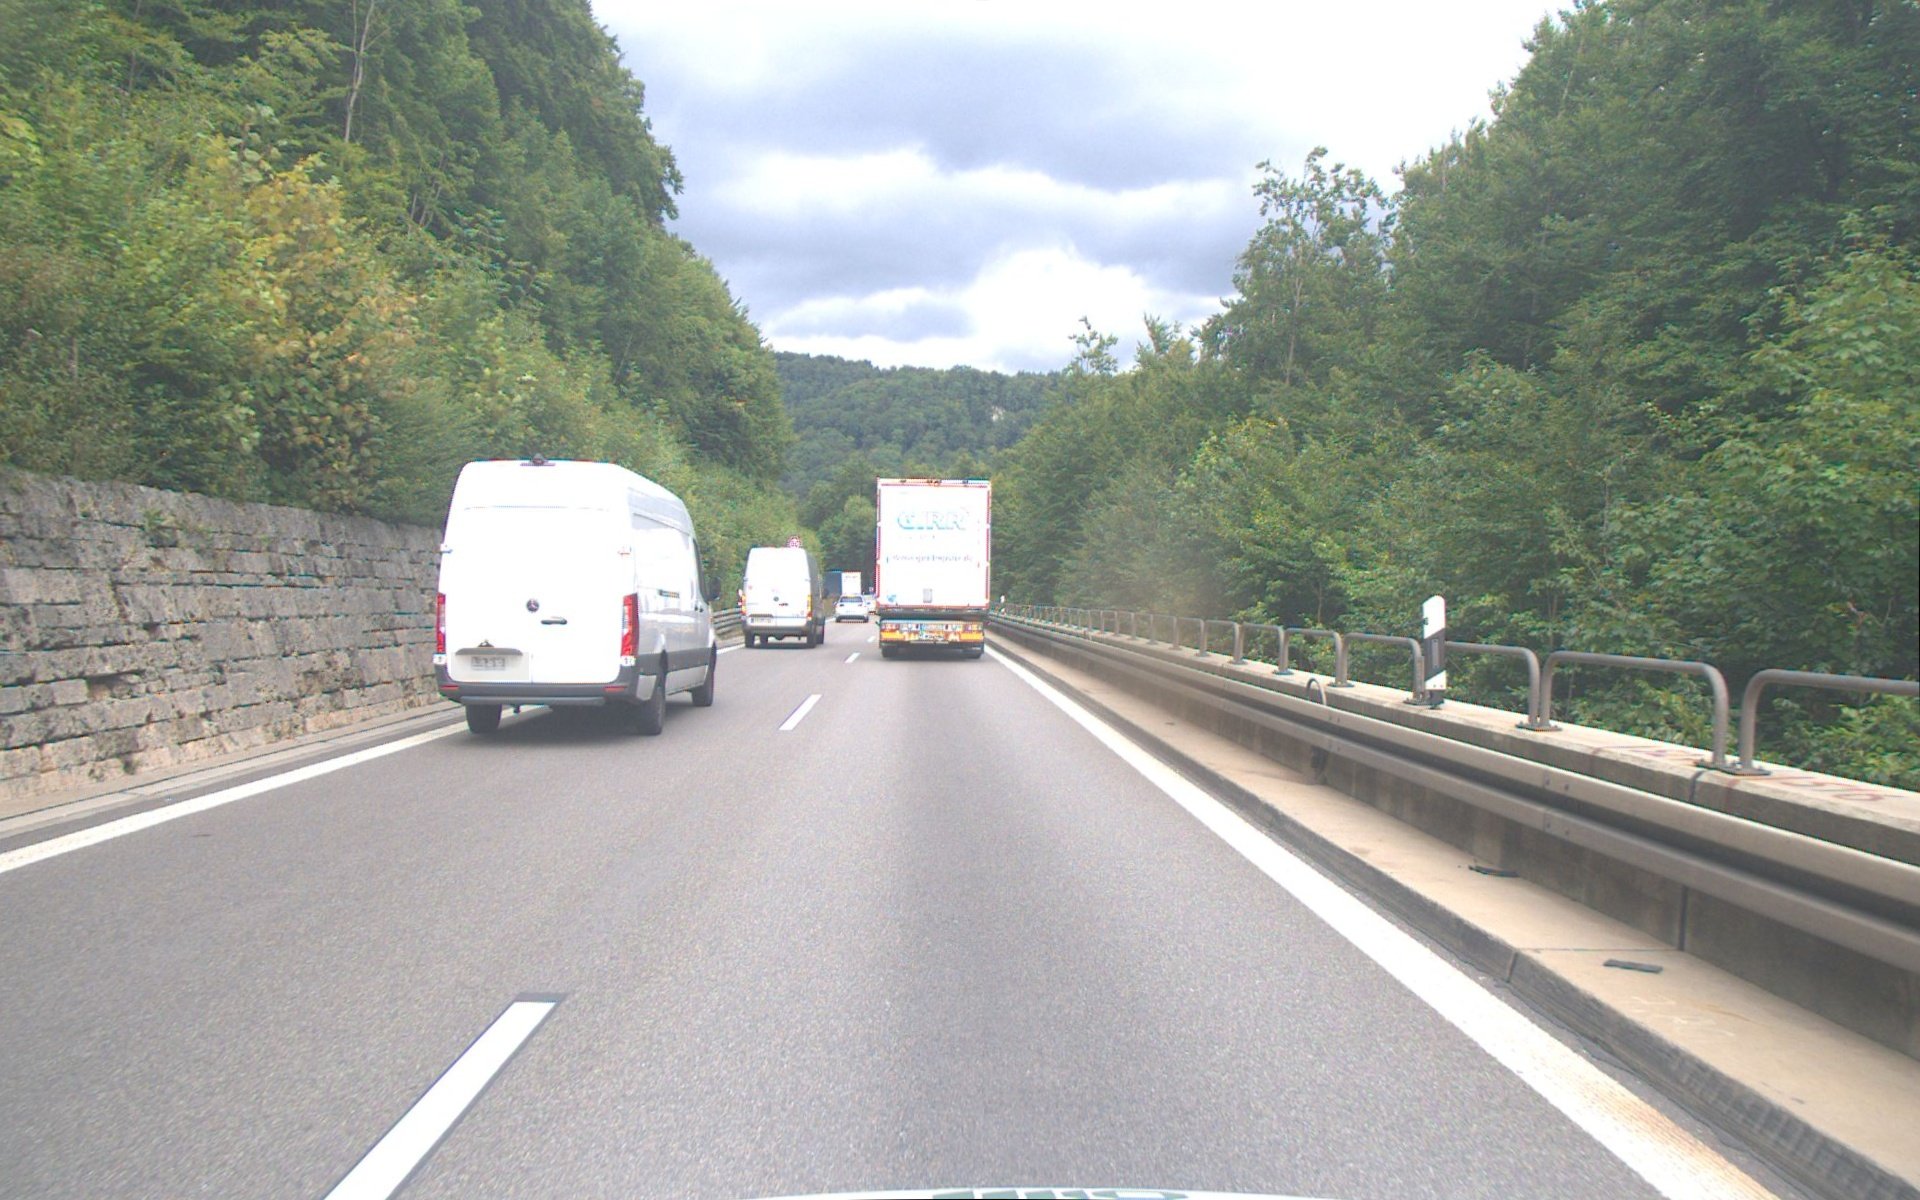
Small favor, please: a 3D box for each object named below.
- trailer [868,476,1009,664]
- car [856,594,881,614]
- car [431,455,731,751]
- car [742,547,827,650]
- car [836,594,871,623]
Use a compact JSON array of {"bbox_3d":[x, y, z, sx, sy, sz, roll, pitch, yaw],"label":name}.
[{"bbox_3d":[-0.616,-0.812,42.114,2.995,4.055,12.134,1,1,-1],"label":"trailer"},{"bbox_3d":[-6.866,0.266,123.970,1.697,1.446,3.999,1,0,-1],"label":"car"},{"bbox_3d":[-3.973,0.013,18.726,1.949,2.719,6.934,0,0,-2],"label":"car"},{"bbox_3d":[-4.885,-0.055,46.771,1.900,2.719,5.989,0,0,-2],"label":"car"},{"bbox_3d":[-5.723,0.441,89.144,1.697,1.446,3.999,1,0,-1],"label":"car"}]
